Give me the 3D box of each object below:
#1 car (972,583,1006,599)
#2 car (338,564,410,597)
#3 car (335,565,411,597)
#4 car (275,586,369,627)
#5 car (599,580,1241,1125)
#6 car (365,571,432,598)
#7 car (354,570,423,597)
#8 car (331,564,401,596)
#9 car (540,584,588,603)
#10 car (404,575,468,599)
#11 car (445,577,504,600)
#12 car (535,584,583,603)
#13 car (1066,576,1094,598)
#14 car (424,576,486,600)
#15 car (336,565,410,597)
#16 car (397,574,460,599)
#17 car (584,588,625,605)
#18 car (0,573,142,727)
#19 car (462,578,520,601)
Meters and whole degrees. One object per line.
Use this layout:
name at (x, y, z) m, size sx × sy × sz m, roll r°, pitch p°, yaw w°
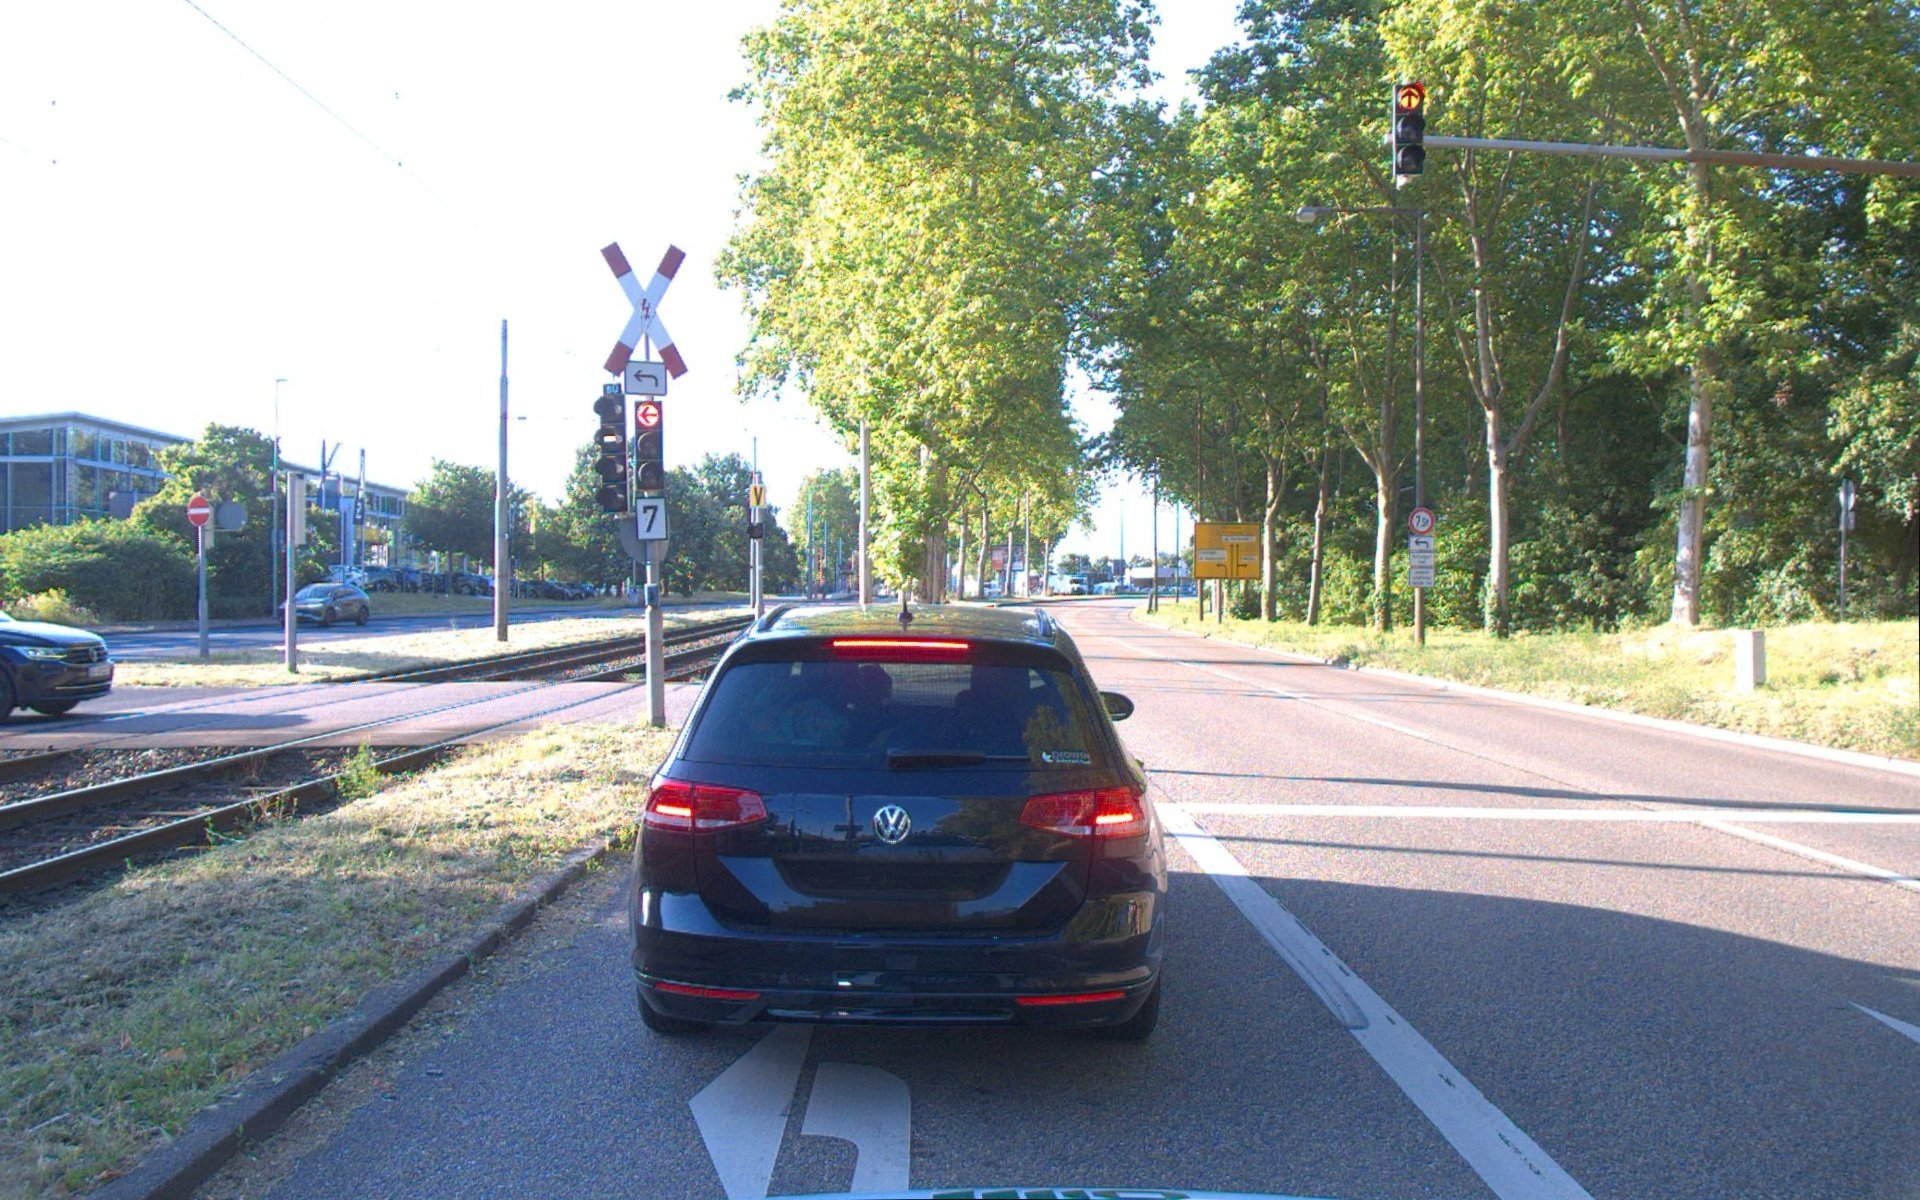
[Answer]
car at (2.817, -0.843, 158.152) m, size 1.824 × 1.507 × 4.090 m, roll 1°, pitch 1°, yaw 23°
car at (-34.446, -1.134, 97.274) m, size 3.930 × 1.848 × 1.732 m, roll 1°, pitch 0°, yaw -22°
car at (-32.914, -1.060, 92.710) m, size 3.930 × 1.734 × 1.732 m, roll 1°, pitch 0°, yaw -22°
car at (-24.956, 0.220, 64.854) m, size 1.823 × 1.507 × 4.174 m, roll 1°, pitch 1°, yaw 3°
car at (-0.142, 0.701, 6.387) m, size 1.758 × 1.490 × 3.582 m, roll 1°, pitch 0°, yaw -1°
car at (-35.547, -0.969, 104.706) m, size 3.930 × 1.583 × 1.732 m, roll 1°, pitch 0°, yaw -22°
car at (-35.206, -0.995, 101.927) m, size 3.930 × 1.583 × 1.732 m, roll 1°, pitch 0°, yaw -22°
car at (-35.552, -1.166, 99.012) m, size 3.930 × 1.848 × 1.732 m, roll 1°, pitch 0°, yaw -22°
car at (-35.522, -0.558, 148.526) m, size 3.909 × 1.649 × 1.742 m, roll 1°, pitch 0°, yaw -6°
car at (-36.043, -0.883, 113.795) m, size 3.913 × 1.583 × 1.740 m, roll 1°, pitch 0°, yaw -9°
car at (-35.575, -0.828, 121.250) m, size 3.909 × 1.649 × 1.742 m, roll 1°, pitch 0°, yaw -6°
car at (-35.225, -0.583, 145.368) m, size 3.909 × 1.649 × 1.742 m, roll 1°, pitch 0°, yaw -6°
car at (14.037, -1.532, 192.597) m, size 2.051 × 2.504 × 5.856 m, roll 1°, pitch 1°, yaw 16°
car at (-35.783, -0.844, 117.319) m, size 3.911 × 1.583 × 1.741 m, roll 1°, pitch 0°, yaw -7°
car at (-33.697, -1.070, 94.949) m, size 3.930 × 1.734 × 1.732 m, roll 1°, pitch 0°, yaw -22°
car at (-35.711, -0.903, 111.100) m, size 3.930 × 1.583 × 1.732 m, roll 1°, pitch 0°, yaw -22°
car at (-35.969, -0.362, 167.430) m, size 3.909 × 1.583 × 1.742 m, roll 1°, pitch 0°, yaw -5°
car at (-11.960, 0.564, 18.865) m, size 4.268 × 1.663 × 1.877 m, roll -1°, pitch 0°, yaw -3°
car at (-35.245, -0.787, 124.466) m, size 3.909 × 1.649 × 1.742 m, roll 1°, pitch 0°, yaw -6°
